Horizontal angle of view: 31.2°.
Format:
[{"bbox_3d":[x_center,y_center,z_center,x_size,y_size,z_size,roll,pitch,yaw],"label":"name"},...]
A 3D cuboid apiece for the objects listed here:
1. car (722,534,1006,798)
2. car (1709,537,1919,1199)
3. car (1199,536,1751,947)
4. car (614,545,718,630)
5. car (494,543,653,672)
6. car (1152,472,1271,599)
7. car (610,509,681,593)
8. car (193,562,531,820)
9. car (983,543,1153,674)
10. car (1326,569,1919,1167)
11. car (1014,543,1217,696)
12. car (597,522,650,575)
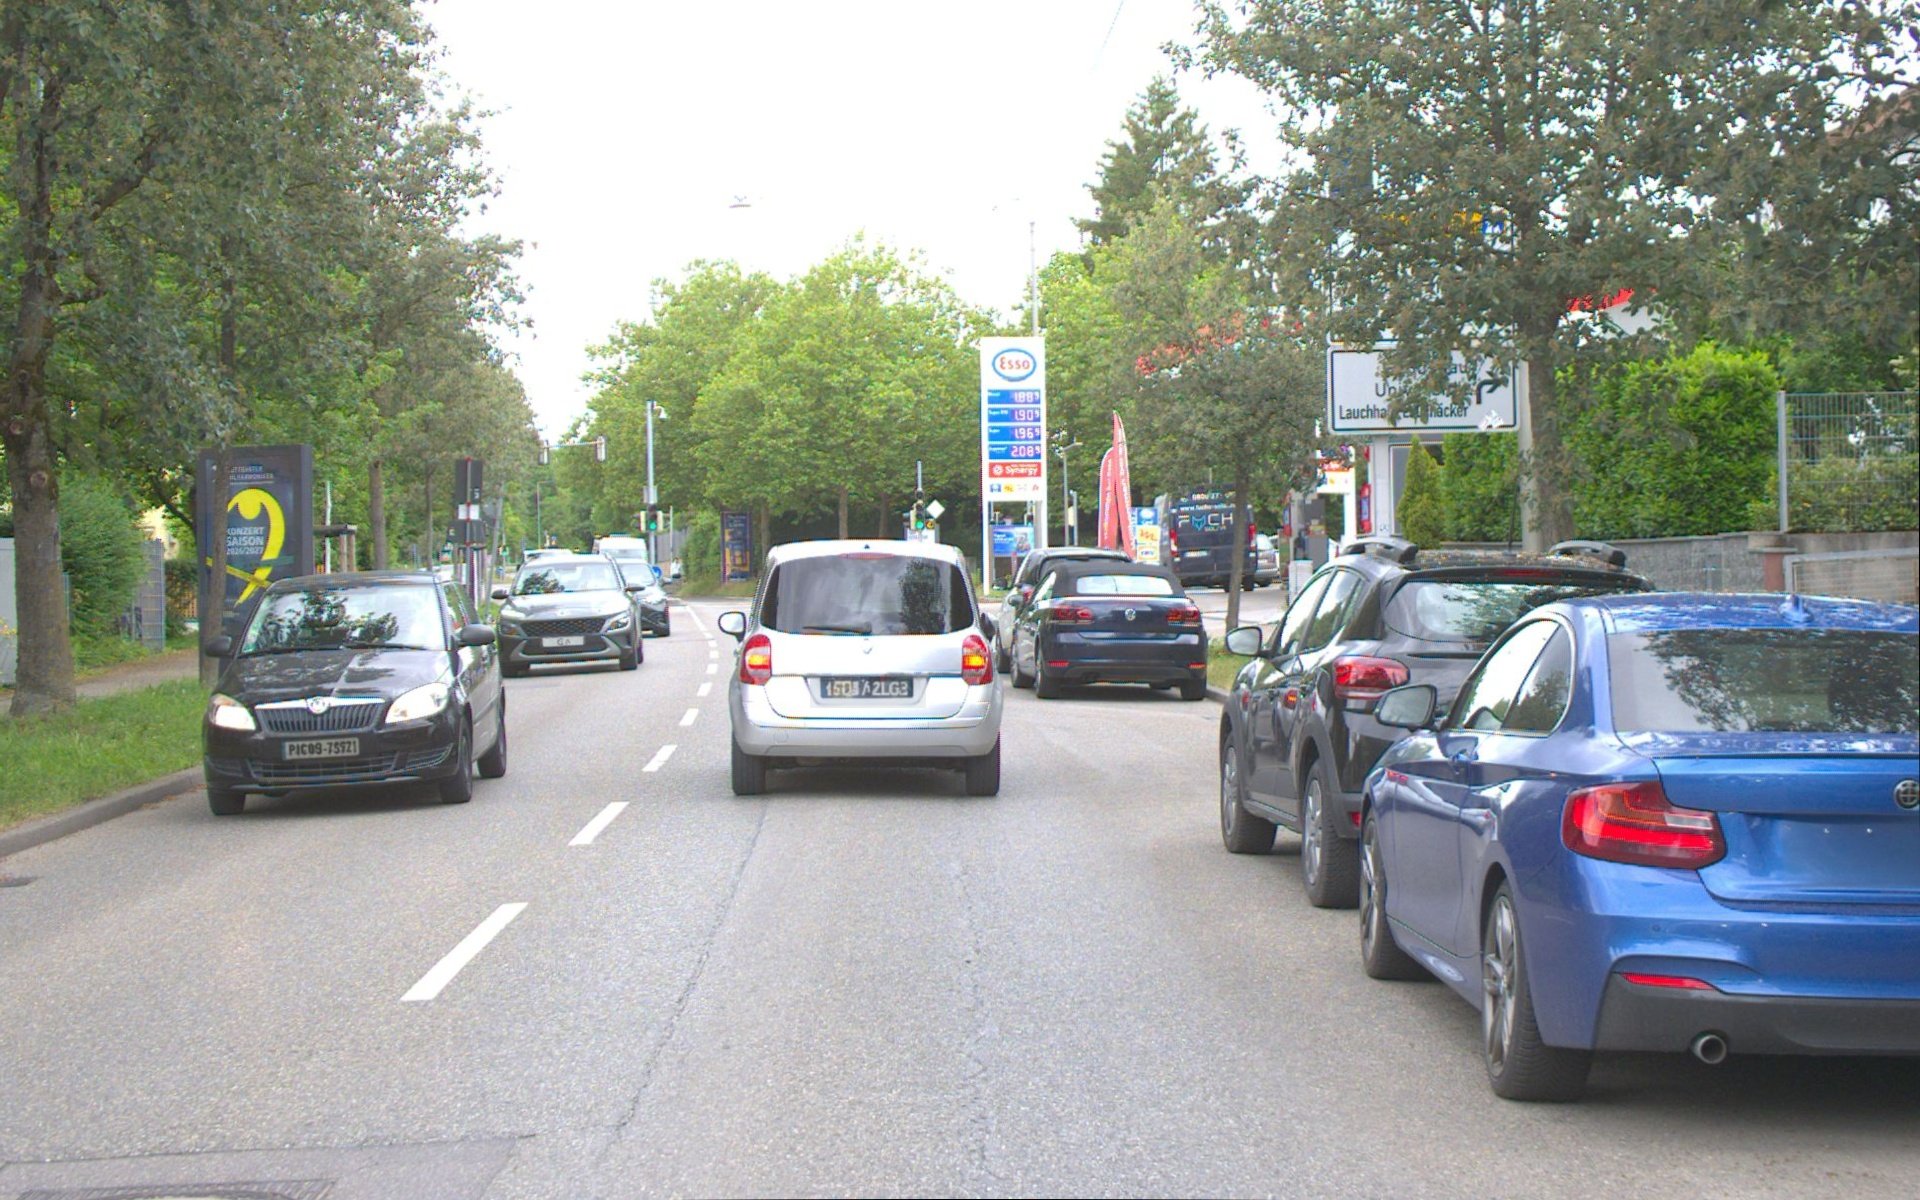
[{"bbox_3d":[-0.609,0.357,22.100,1.679,1.554,3.512,0,1,-1],"label":"car"},{"bbox_3d":[2.519,0.699,5.230,1.695,1.552,3.956,2,0,-3],"label":"car"},{"bbox_3d":[2.225,0.545,15.891,1.695,1.565,3.956,3,1,-3],"label":"car"},{"bbox_3d":[-5.434,-0.255,63.895,1.695,1.501,3.645,-1,1,-1],"label":"car"},{"bbox_3d":[-5.137,0.065,46.087,1.793,1.550,3.672,-3,1,-3],"label":"car"},{"bbox_3d":[5.923,-1.530,81.668,2.281,2.901,5.280,1,1,-1],"label":"car"},{"bbox_3d":[-9.296,-1.455,101.704,1.934,2.400,4.001,-1,1,-3],"label":"car"},{"bbox_3d":[-3.843,0.529,22.643,1.545,1.465,3.742,-3,1,-1],"label":"car"},{"bbox_3d":[1.271,0.069,41.882,1.695,1.501,3.645,-1,1,-4],"label":"car"},{"bbox_3d":[2.273,0.643,10.670,1.696,1.428,4.340,0,1,-1],"label":"car"},{"bbox_3d":[1.589,0.159,36.423,1.695,1.501,3.973,-1,1,-4],"label":"car"},{"bbox_3d":[-13.056,-2.026,133.560,1.740,2.007,4.000,-1,1,-1],"label":"car"}]
